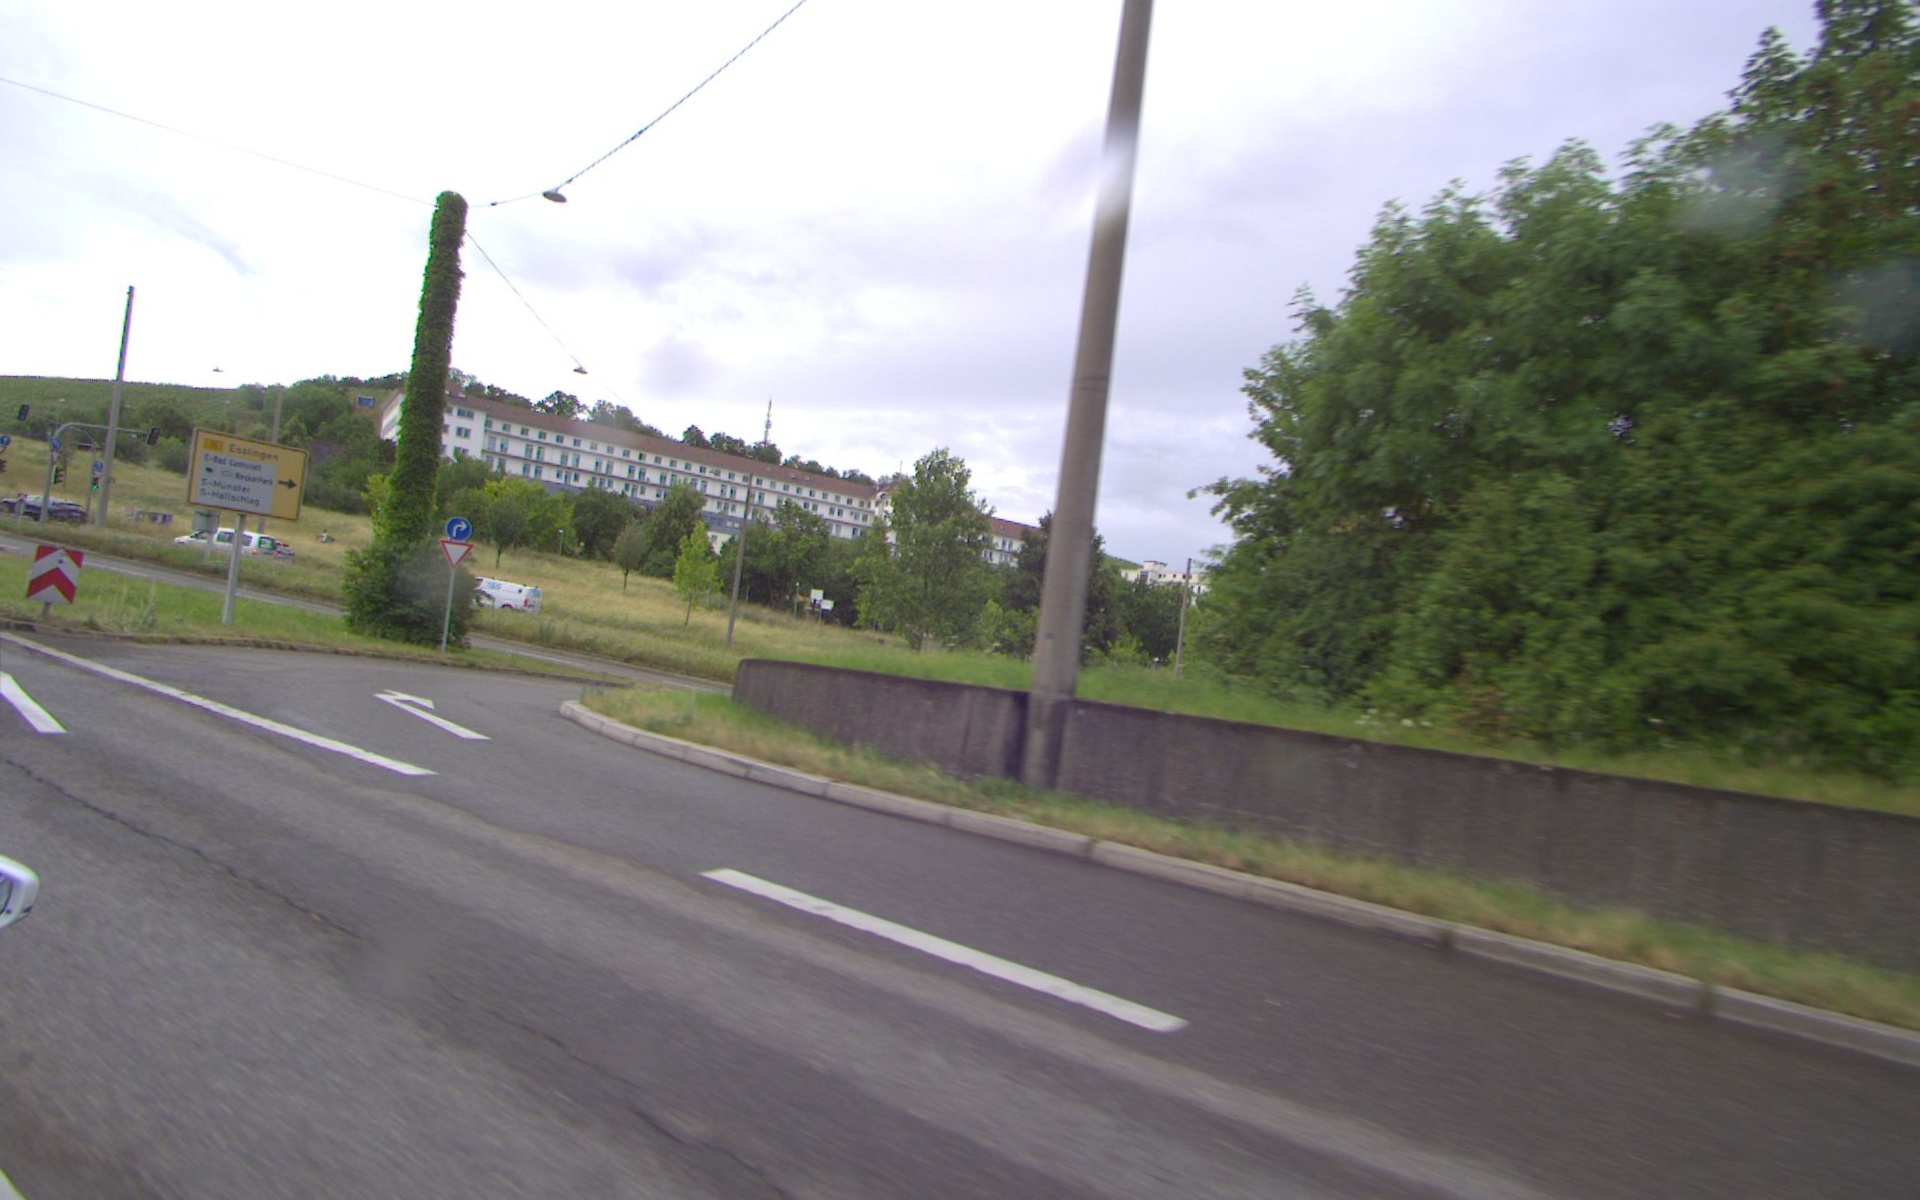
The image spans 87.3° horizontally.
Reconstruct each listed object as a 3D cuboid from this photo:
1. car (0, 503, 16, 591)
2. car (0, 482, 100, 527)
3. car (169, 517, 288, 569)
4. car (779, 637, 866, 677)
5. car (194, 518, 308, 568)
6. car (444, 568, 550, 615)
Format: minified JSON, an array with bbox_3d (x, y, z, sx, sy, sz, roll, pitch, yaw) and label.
[{"bbox_3d":[-13.138,-0.639,11.842,4.060,1.595,2.000,7,-4,35],"label":"car"},{"bbox_3d":[-54.340,-5.685,59.737,4.484,1.732,1.998,10,1,-3],"label":"car"},{"bbox_3d":[-37.236,-2.898,51.283,4.480,1.732,2.000,10,1,2],"label":"car"},{"bbox_3d":[-7.453,3.072,54.759,4.283,1.305,1.875,11,1,5],"label":"car"},{"bbox_3d":[-38.107,-3.048,54.170,4.581,1.732,2.000,10,1,2],"label":"car"},{"bbox_3d":[-25.729,-0.449,56.000,4.805,1.712,2.002,10,-1,5],"label":"car"}]
